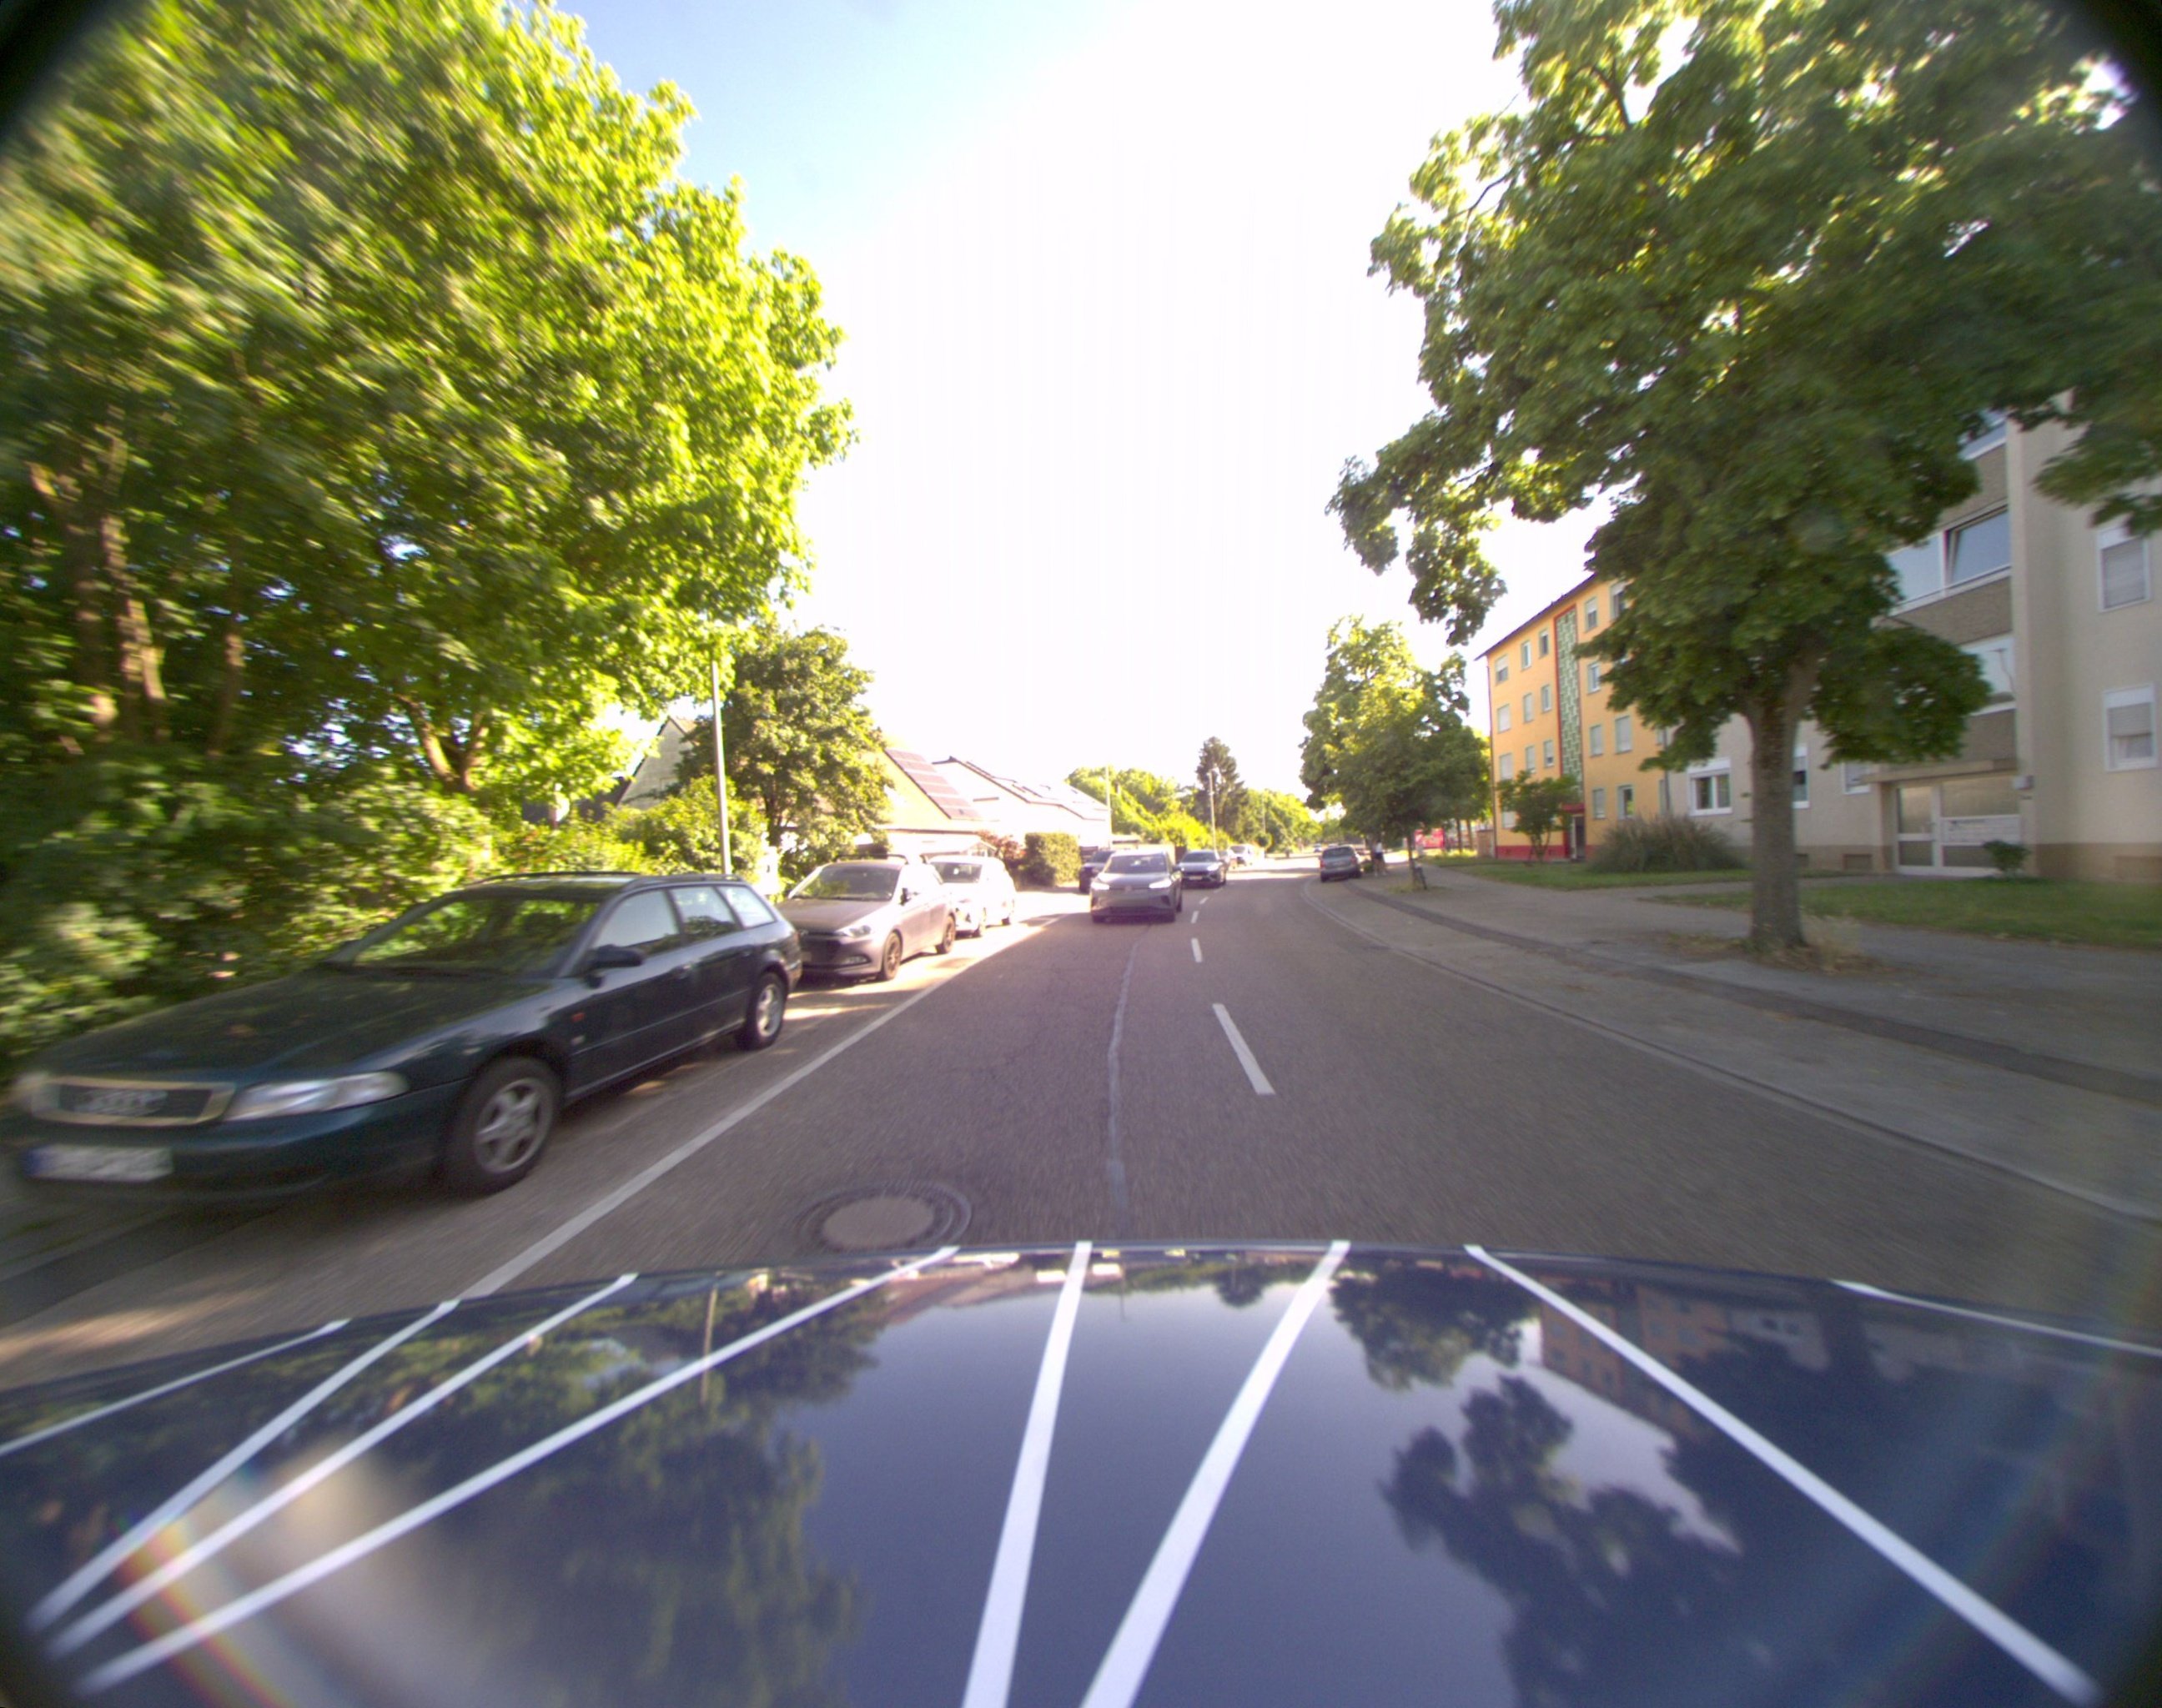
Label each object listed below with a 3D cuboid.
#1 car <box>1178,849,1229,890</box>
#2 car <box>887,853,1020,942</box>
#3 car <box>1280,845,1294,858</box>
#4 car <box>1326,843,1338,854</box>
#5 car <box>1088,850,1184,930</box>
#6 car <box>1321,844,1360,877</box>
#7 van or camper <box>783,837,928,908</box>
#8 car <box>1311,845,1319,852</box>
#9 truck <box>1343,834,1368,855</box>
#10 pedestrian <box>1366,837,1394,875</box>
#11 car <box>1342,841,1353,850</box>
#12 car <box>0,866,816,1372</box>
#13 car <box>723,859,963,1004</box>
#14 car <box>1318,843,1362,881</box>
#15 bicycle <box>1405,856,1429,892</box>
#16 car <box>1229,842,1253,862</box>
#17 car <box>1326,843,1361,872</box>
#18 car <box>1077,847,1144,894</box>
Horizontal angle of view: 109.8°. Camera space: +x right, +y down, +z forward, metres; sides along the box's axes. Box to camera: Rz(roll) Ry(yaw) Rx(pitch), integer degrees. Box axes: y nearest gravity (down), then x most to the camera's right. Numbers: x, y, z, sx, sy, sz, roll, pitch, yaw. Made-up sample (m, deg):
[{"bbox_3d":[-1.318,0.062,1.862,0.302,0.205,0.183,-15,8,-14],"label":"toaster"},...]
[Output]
[{"bbox_3d":[5.185,0.616,31.946,1.579,1.568,3.708,-3,0,17],"label":"car"},{"bbox_3d":[-2.451,0.779,15.512,1.636,1.565,3.706,0,1,8],"label":"car"},{"bbox_3d":[26.783,-0.386,98.661,1.638,1.568,3.708,-3,0,17],"label":"car"},{"bbox_3d":[35.799,-0.736,108.386,1.545,1.456,3.708,-3,0,17],"label":"car"},{"bbox_3d":[1.397,0.767,17.935,1.776,1.624,3.707,-3,0,11],"label":"car"},{"bbox_3d":[13.081,0.301,38.191,1.649,1.530,3.709,-3,0,21],"label":"car"},{"bbox_3d":[-7.015,0.560,23.693,3.844,2.002,1.953,-3,0,22],"label":"van or camper"},{"bbox_3d":[49.441,-1.101,160.454,1.545,1.456,3.708,-3,0,17],"label":"car"},{"bbox_3d":[33.198,-1.218,91.699,2.409,2.353,4.532,-3,0,24],"label":"truck"},{"bbox_3d":[13.086,0.089,33.242,0.959,1.619,0.734,-2,1,33],"label":"pedestrian"},{"bbox_3d":[44.359,-1.436,126.439,1.545,1.456,3.708,-3,0,17],"label":"car"},{"bbox_3d":[-3.426,0.936,4.749,1.657,1.554,4.465,-3,0,4],"label":"car"},{"bbox_3d":[-3.019,0.889,10.613,1.722,1.565,4.001,0,1,6],"label":"car"},{"bbox_3d":[11.525,0.337,33.730,1.649,1.530,3.709,-3,0,21],"label":"car"},{"bbox_3d":[9.838,0.584,22.257,0.357,1.001,1.201,-4,-1,13],"label":"bicycle"},{"bbox_3d":[13.854,-0.173,65.692,1.638,1.568,3.708,-3,0,17],"label":"car"},{"bbox_3d":[14.786,0.172,42.721,1.649,1.530,3.709,-3,0,21],"label":"car"},{"bbox_3d":[1.254,0.600,30.198,1.775,1.727,3.708,0,1,17],"label":"car"}]
